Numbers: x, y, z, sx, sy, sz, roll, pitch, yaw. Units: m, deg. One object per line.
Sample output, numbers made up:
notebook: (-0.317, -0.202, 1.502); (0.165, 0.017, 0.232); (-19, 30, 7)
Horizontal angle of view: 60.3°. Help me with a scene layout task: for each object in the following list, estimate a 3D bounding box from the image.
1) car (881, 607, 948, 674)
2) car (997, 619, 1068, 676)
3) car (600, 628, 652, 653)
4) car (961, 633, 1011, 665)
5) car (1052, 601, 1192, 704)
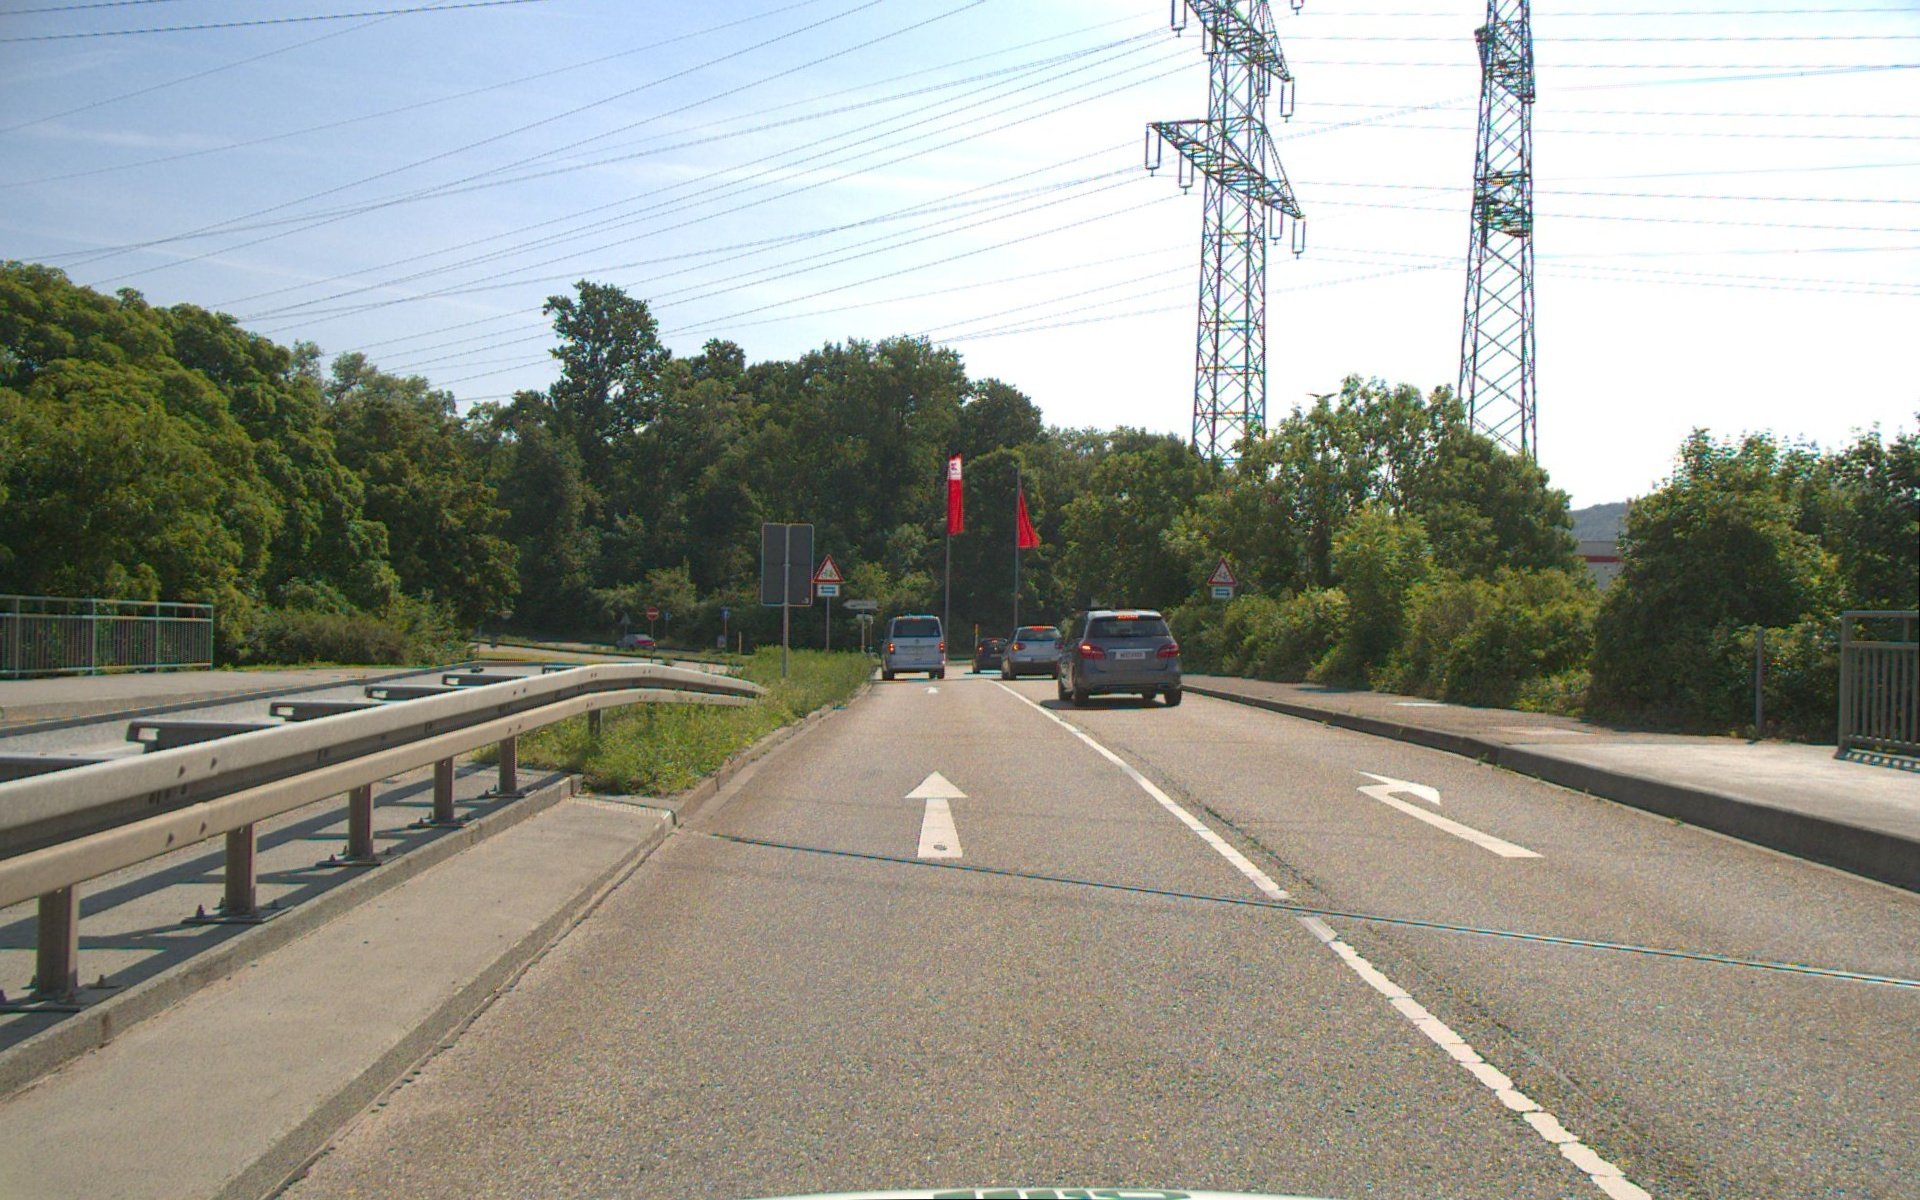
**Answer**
car: (-1.499, 1.277, 52.977); (1.999, 2.049, 3.997); (0, -1, -4)
car: (2.045, 1.373, 47.613); (1.818, 1.556, 4.143); (-1, -2, 0)
car: (-24.338, 2.930, 120.501); (3.577, 1.593, 1.649); (1, 1, 30)
car: (1.161, 2.124, 72.314); (1.735, 1.355, 3.743); (0, -1, 8)
car: (2.649, 0.861, 28.008); (1.819, 1.556, 4.142); (-2, -1, -2)
